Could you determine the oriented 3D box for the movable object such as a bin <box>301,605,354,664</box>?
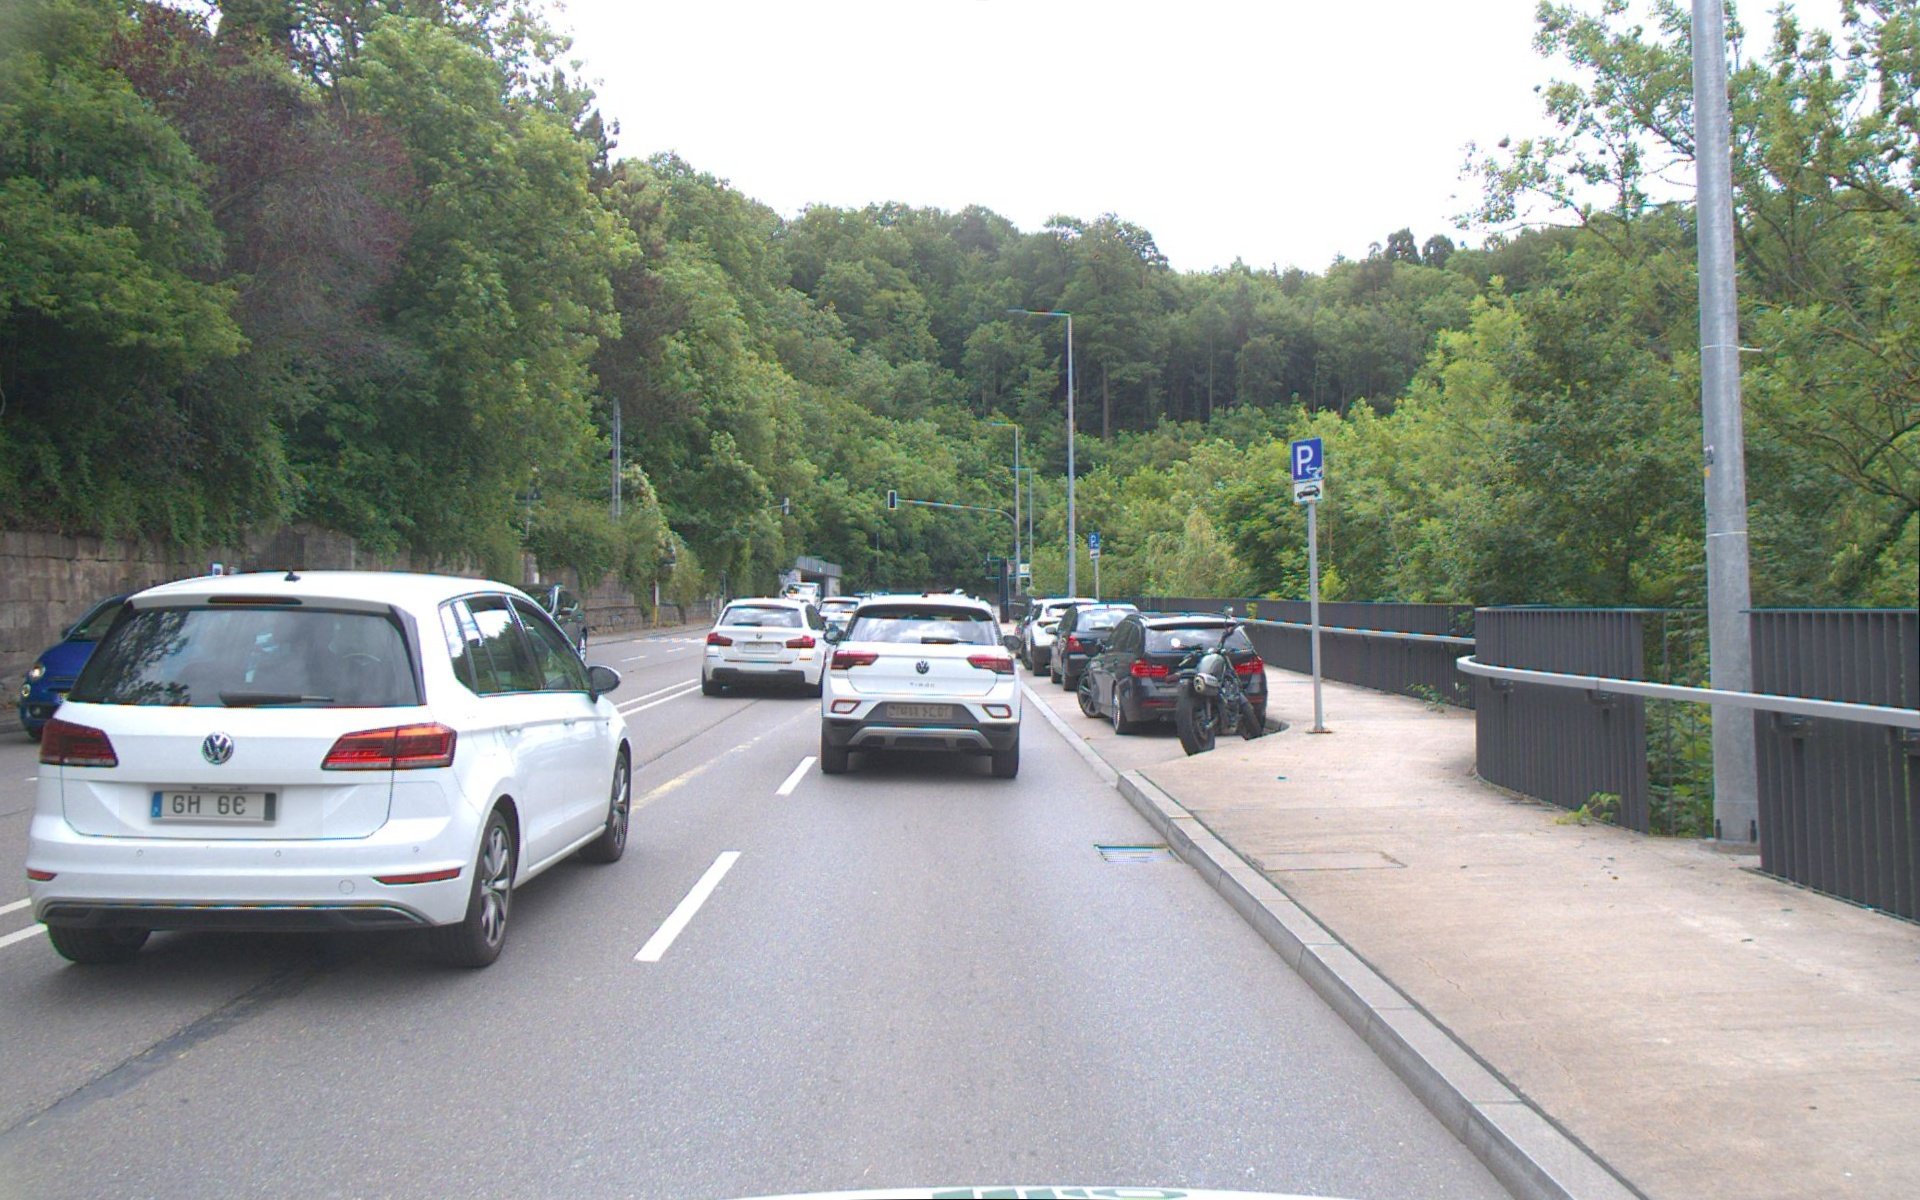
[{"bbox_3d":[-12.038,0.652,31.504,0.772,1.089,0.708,0,1,-4],"label":"movable object such as a bin"}]

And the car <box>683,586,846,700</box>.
[{"bbox_3d":[-2.981,0.614,26.210,1.953,1.585,4.681,2,0,0],"label":"car"}]

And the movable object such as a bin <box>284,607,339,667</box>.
[{"bbox_3d":[-12.054,0.684,30.765,0.757,1.080,0.717,0,0,-4],"label":"movable object such as a bin"}]

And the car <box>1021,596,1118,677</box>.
[{"bbox_3d":[2.297,0.742,35.691,1.691,1.596,4.623,-1,0,-1],"label":"car"}]

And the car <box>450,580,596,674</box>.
[{"bbox_3d":[-8.633,0.509,33.053,1.779,1.727,4.468,1,0,-1],"label":"car"}]

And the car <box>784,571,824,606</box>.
[{"bbox_3d":[-9.308,-0.670,98.994,1.882,2.040,5.355,1,0,0],"label":"car"}]

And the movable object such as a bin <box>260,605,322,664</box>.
[{"bbox_3d":[-12.129,0.625,30.005,0.880,1.052,0.621,0,0,-4],"label":"movable object such as a bin"}]

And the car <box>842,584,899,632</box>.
[{"bbox_3d":[-3.457,0.280,64.317,1.953,1.771,4.000,1,0,0],"label":"car"}]

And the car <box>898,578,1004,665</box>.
[{"bbox_3d":[-0.151,0.495,38.952,1.951,1.875,4.153,2,0,7],"label":"car"}]

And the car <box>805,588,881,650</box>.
[{"bbox_3d":[-3.289,0.497,47.070,1.824,1.622,4.000,2,0,0],"label":"car"}]

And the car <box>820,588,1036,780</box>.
[{"bbox_3d":[-0.319,0.705,15.627,1.777,1.566,4.007,0,-1,-2],"label":"car"}]

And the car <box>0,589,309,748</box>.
[{"bbox_3d":[-8.402,0.661,17.527,1.551,1.487,3.523,1,0,0],"label":"car"}]

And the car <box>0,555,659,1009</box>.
[{"bbox_3d":[-2.651,0.640,7.971,1.685,1.581,4.274,1,0,-1],"label":"car"}]

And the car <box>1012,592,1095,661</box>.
[{"bbox_3d":[2.314,0.638,41.834,1.721,1.571,4.426,-3,0,-1],"label":"car"}]

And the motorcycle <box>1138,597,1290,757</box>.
[{"bbox_3d":[2.625,0.731,16.814,0.755,1.493,2.501,1,0,27],"label":"motorcycle"}]

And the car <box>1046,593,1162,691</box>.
[{"bbox_3d":[2.566,0.715,30.308,1.626,1.599,4.254,-2,0,-1],"label":"car"}]

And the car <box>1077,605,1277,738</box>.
[{"bbox_3d":[2.614,0.818,20.883,1.786,1.425,4.317,-2,0,-2],"label":"car"}]
